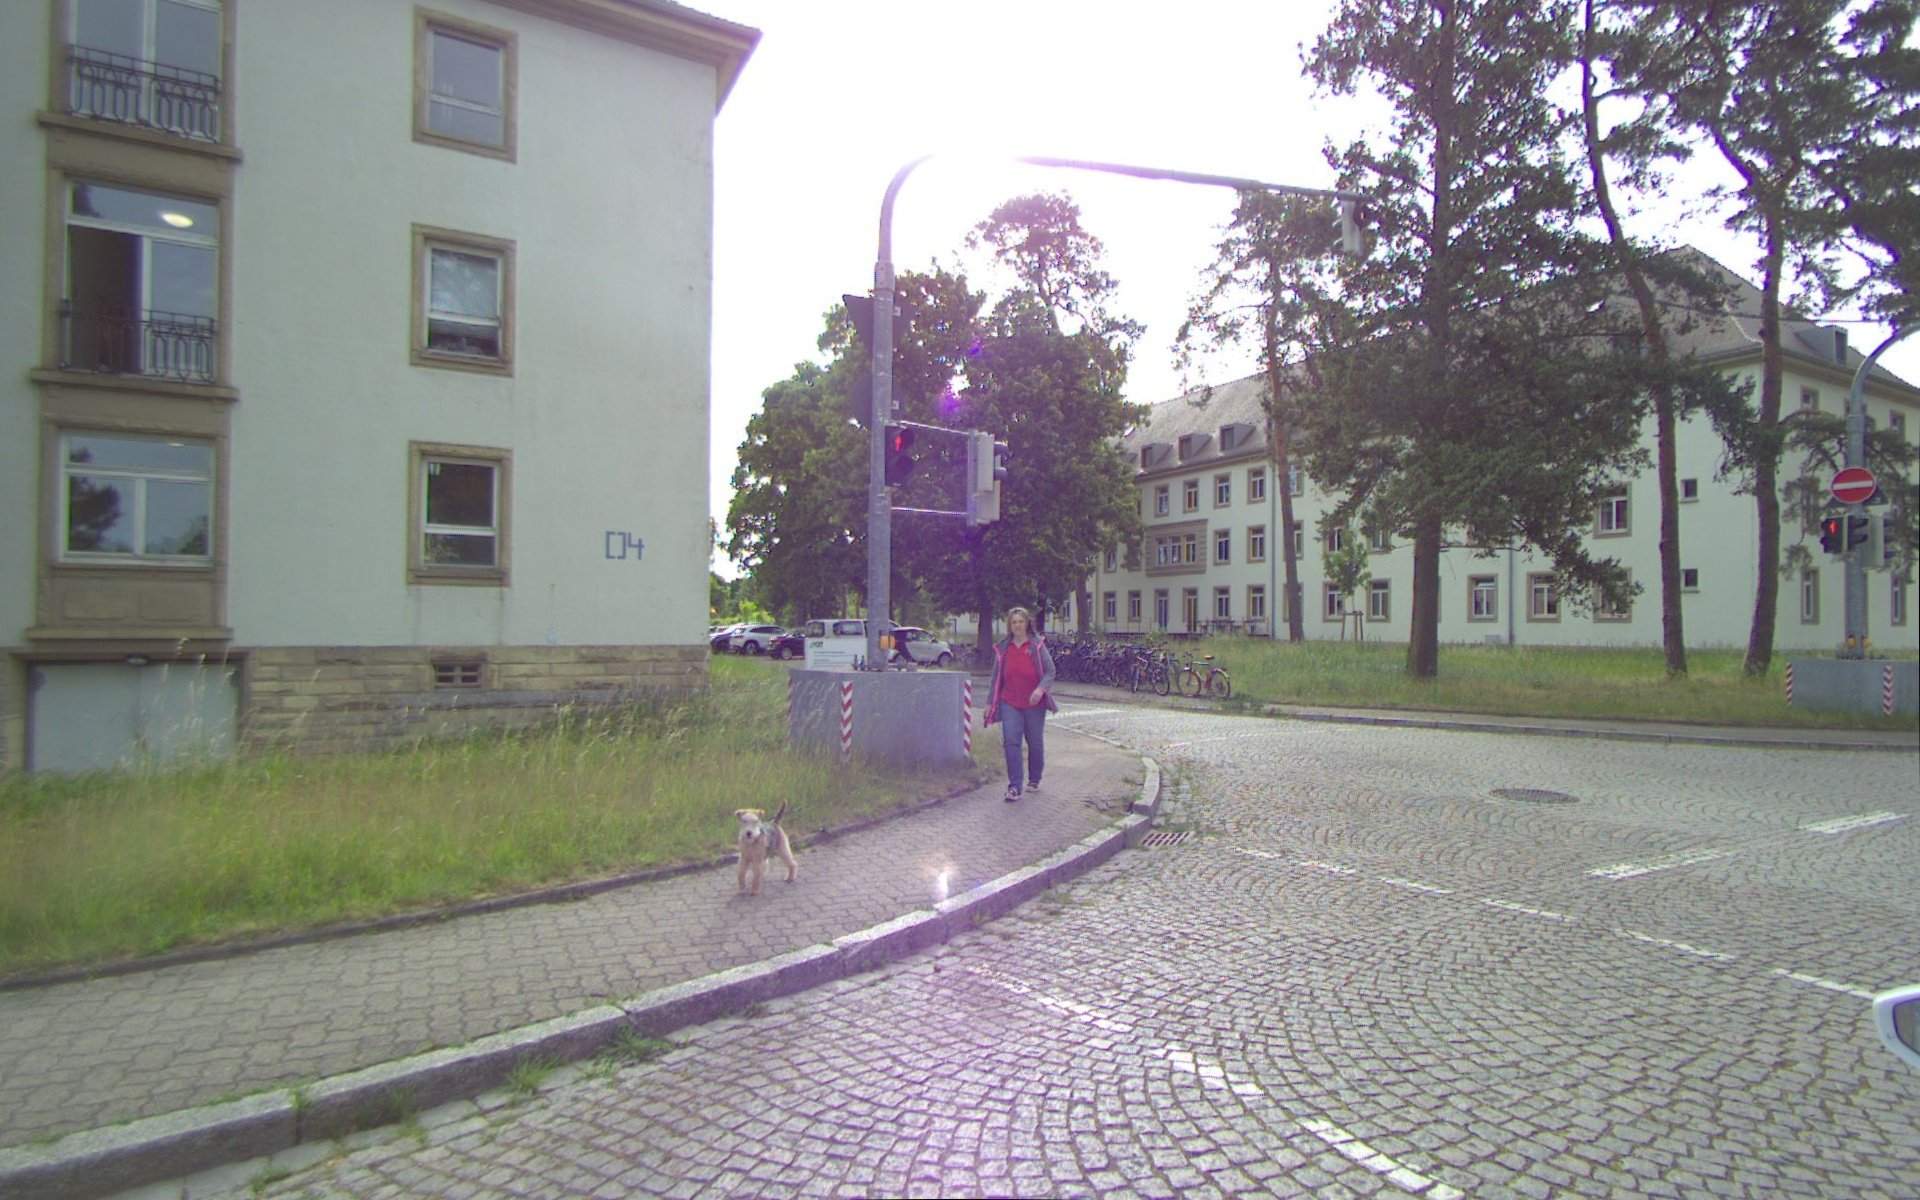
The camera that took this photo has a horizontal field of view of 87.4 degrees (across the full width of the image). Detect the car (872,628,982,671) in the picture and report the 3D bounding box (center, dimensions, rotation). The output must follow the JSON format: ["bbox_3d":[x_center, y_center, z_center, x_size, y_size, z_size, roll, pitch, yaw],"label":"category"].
[{"bbox_3d":[-1.282,1.873,38.696,3.849,1.576,1.832,1,-2,-29],"label":"car"}]

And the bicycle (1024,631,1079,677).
[{"bbox_3d":[2.685,1.567,29.389,1.676,1.300,0.447,1,-2,-31],"label":"bicycle"}]

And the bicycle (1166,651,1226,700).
[{"bbox_3d":[5.165,1.630,22.028,0.446,1.009,1.454,1,-2,-27],"label":"bicycle"}]

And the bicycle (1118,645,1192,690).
[{"bbox_3d":[4.954,1.697,25.427,1.973,1.092,0.572,1,-2,-31],"label":"bicycle"}]

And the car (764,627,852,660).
[{"bbox_3d":[-7.336,2.099,48.644,3.849,1.534,1.832,1,-2,-29],"label":"car"}]

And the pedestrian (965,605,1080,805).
[{"bbox_3d":[0.583,0.899,9.027,0.921,1.690,0.863,0,-1,12],"label":"pedestrian"}]

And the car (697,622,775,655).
[{"bbox_3d":[-12.400,2.135,55.677,3.849,1.788,1.832,1,-2,-29],"label":"car"}]

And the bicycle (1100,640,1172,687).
[{"bbox_3d":[4.560,1.628,26.001,1.931,1.193,0.572,1,-2,-31],"label":"bicycle"}]

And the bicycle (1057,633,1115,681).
[{"bbox_3d":[3.526,1.572,28.050,1.676,1.300,0.447,1,-2,-31],"label":"bicycle"}]

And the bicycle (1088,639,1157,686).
[{"bbox_3d":[4.309,1.627,26.529,1.908,1.193,0.525,1,-2,-31],"label":"bicycle"}]

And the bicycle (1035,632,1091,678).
[{"bbox_3d":[2.971,1.568,28.905,1.676,1.300,0.447,1,-2,-31],"label":"bicycle"}]

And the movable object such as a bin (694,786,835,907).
[{"bbox_3d":[-1.096,1.381,5.736,0.436,0.510,0.752,0,-3,23],"label":"movable object such as a bin"}]

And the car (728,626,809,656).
[{"bbox_3d":[-10.153,2.166,53.323,3.849,1.546,1.832,1,-2,-29],"label":"car"}]

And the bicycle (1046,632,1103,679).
[{"bbox_3d":[3.252,1.570,28.473,1.676,1.300,0.447,1,-2,-31],"label":"bicycle"}]

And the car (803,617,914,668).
[{"bbox_3d":[-4.074,1.696,40.365,4.085,1.932,1.832,1,-2,-29],"label":"car"}]

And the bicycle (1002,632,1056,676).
[{"bbox_3d":[2.107,1.617,30.383,1.676,1.300,0.447,1,-2,-31],"label":"bicycle"}]

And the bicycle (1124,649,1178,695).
[{"bbox_3d":[4.424,1.662,23.361,0.446,1.009,1.454,1,-2,-27],"label":"bicycle"}]

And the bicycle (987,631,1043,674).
[{"bbox_3d":[1.721,1.618,31.237,1.806,1.300,0.447,1,-2,-31],"label":"bicycle"}]

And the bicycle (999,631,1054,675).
[{"bbox_3d":[2.054,1.622,30.894,1.764,1.300,0.440,1,-2,-31],"label":"bicycle"}]

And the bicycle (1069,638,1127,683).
[{"bbox_3d":[3.771,1.624,27.369,1.676,1.193,0.447,1,-2,-31],"label":"bicycle"}]

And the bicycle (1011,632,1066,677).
[{"bbox_3d":[2.347,1.619,29.961,1.676,1.300,0.447,1,-2,-31],"label":"bicycle"}]

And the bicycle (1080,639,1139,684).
[{"bbox_3d":[4.018,1.638,26.952,1.676,1.193,0.447,1,-2,-31],"label":"bicycle"}]
